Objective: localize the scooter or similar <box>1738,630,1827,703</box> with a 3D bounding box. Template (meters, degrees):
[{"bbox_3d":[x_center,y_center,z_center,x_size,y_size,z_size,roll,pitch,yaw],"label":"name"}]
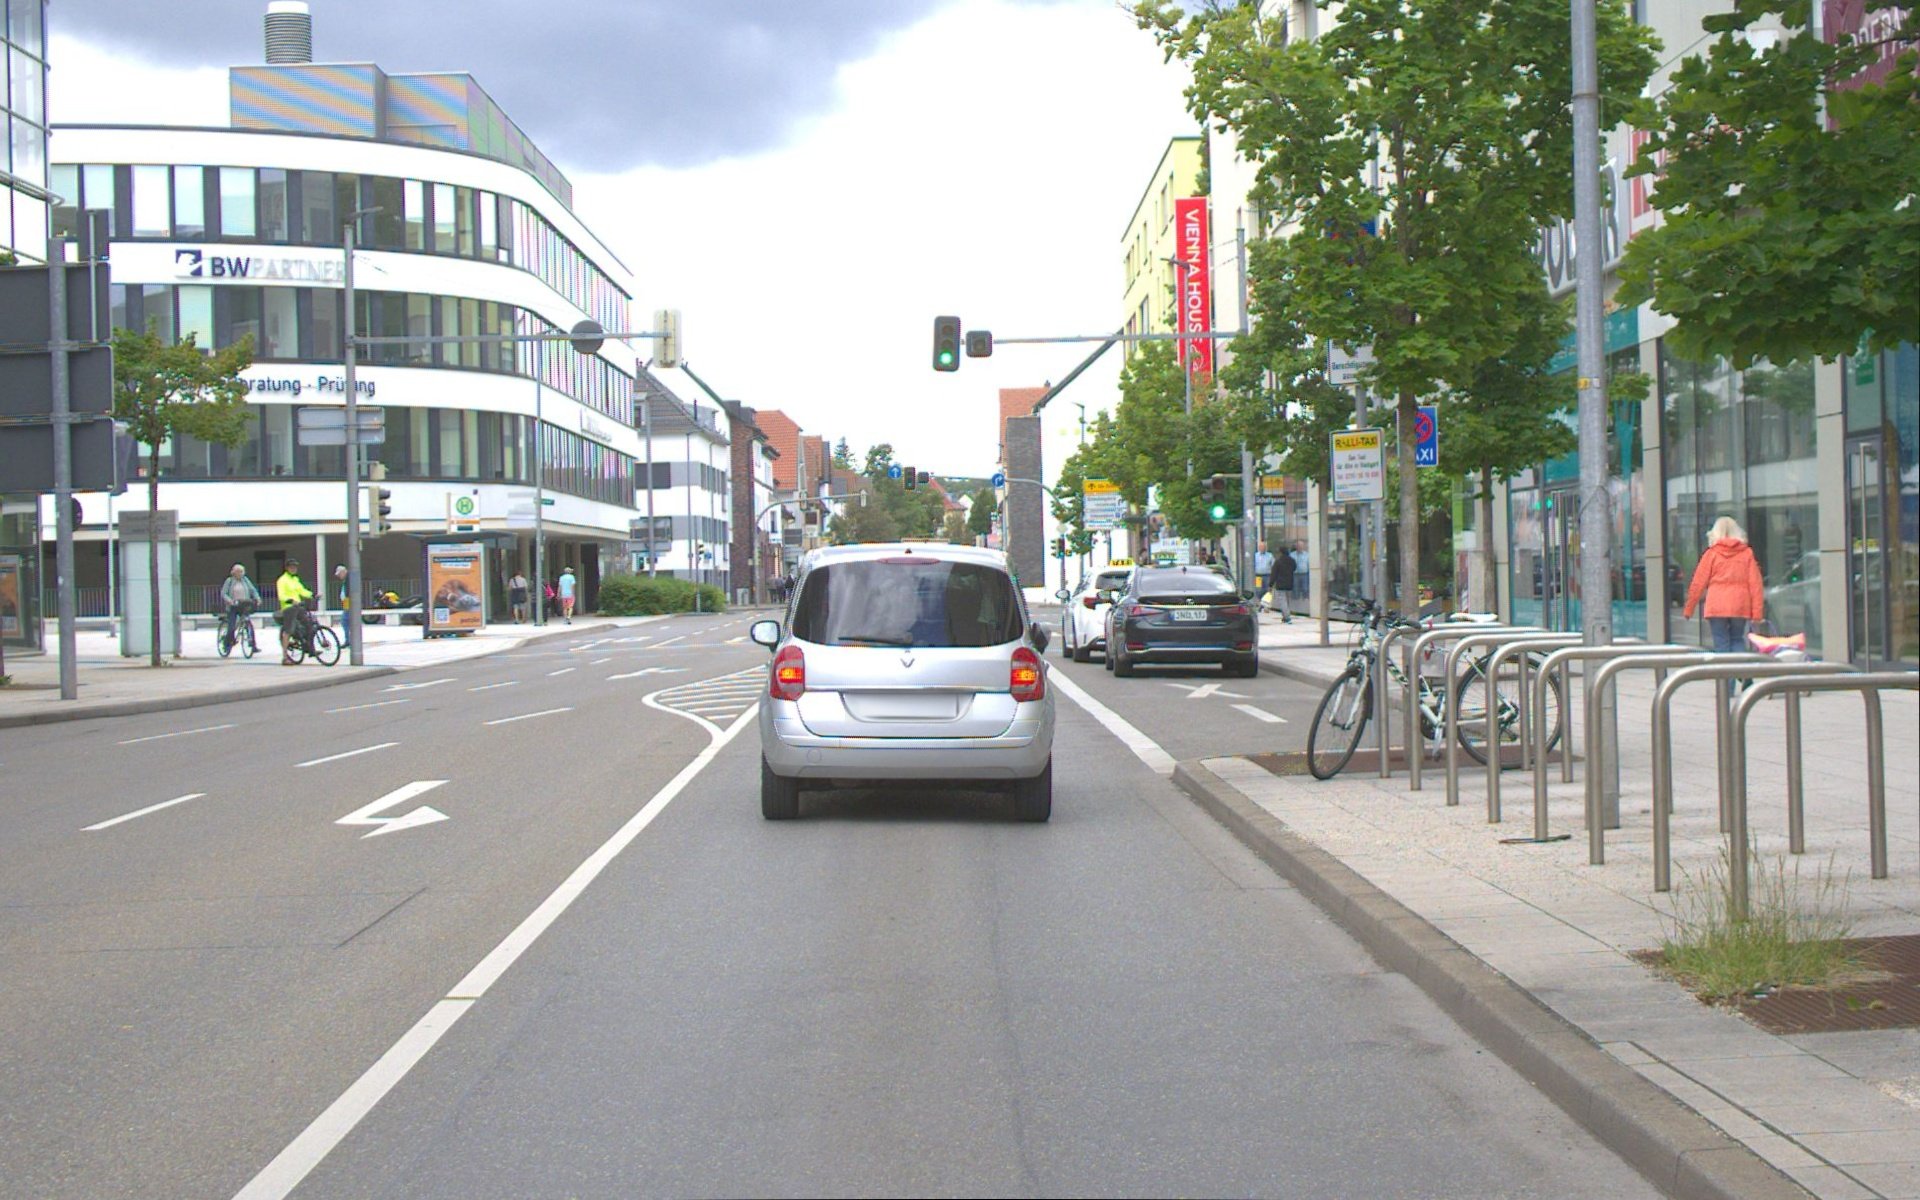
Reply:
[{"bbox_3d":[6.902,0.555,28.865,0.550,0.544,0.642,-4,1,0],"label":"scooter or similar"}]

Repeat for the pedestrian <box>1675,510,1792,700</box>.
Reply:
[{"bbox_3d":[6.673,0.036,29.692,0.710,1.569,0.812,-4,1,0],"label":"pedestrian"}]

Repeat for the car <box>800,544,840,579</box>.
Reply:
[{"bbox_3d":[-8.316,-2.316,204.785,2.170,2.007,4.258,-2,1,0],"label":"car"}]

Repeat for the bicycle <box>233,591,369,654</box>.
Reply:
[{"bbox_3d":[-11.441,0.376,59.586,1.006,1.015,3.129,1,0,-37],"label":"bicycle"}]

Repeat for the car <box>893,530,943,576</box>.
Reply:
[{"bbox_3d":[-1.875,-2.119,155.057,2.170,2.007,4.258,-2,1,0],"label":"car"}]

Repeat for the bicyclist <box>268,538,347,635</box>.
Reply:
[{"bbox_3d":[-11.261,-0.230,59.366,1.006,1.655,0.933,1,0,-38],"label":"bicyclist"}]

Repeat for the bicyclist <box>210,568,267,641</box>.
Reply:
[{"bbox_3d":[-13.400,0.081,63.871,0.827,1.322,0.652,-2,1,-33],"label":"bicyclist"}]

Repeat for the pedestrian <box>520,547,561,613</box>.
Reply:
[{"bbox_3d":[-11.870,-0.586,97.317,0.960,1.827,1.250,-2,1,0],"label":"pedestrian"}]

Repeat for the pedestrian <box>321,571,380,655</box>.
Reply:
[{"bbox_3d":[-13.758,0.282,77.577,1.246,1.827,0.964,-2,1,-10],"label":"pedestrian"}]

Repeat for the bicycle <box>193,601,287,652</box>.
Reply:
[{"bbox_3d":[-13.391,0.484,63.872,0.827,0.895,2.525,-2,1,-33],"label":"bicycle"}]

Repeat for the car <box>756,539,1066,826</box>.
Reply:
[{"bbox_3d":[-0.361,0.422,20.592,1.669,1.549,3.642,1,1,-3],"label":"car"}]

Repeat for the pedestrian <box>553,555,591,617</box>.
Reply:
[{"bbox_3d":[-11.721,-0.440,103.943,0.960,1.827,1.250,-2,1,0],"label":"pedestrian"}]

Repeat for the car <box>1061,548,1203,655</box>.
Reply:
[{"bbox_3d":[2.542,-0.005,51.522,1.877,1.503,4.000,1,1,0],"label":"car"}]

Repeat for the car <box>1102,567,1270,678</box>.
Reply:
[{"bbox_3d":[2.907,0.260,44.954,1.877,1.330,4.000,1,1,0],"label":"car"}]

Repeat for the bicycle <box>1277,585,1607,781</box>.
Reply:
[{"bbox_3d":[2.882,0.486,20.673,1.825,1.071,0.752,-2,1,-2],"label":"bicycle"}]
